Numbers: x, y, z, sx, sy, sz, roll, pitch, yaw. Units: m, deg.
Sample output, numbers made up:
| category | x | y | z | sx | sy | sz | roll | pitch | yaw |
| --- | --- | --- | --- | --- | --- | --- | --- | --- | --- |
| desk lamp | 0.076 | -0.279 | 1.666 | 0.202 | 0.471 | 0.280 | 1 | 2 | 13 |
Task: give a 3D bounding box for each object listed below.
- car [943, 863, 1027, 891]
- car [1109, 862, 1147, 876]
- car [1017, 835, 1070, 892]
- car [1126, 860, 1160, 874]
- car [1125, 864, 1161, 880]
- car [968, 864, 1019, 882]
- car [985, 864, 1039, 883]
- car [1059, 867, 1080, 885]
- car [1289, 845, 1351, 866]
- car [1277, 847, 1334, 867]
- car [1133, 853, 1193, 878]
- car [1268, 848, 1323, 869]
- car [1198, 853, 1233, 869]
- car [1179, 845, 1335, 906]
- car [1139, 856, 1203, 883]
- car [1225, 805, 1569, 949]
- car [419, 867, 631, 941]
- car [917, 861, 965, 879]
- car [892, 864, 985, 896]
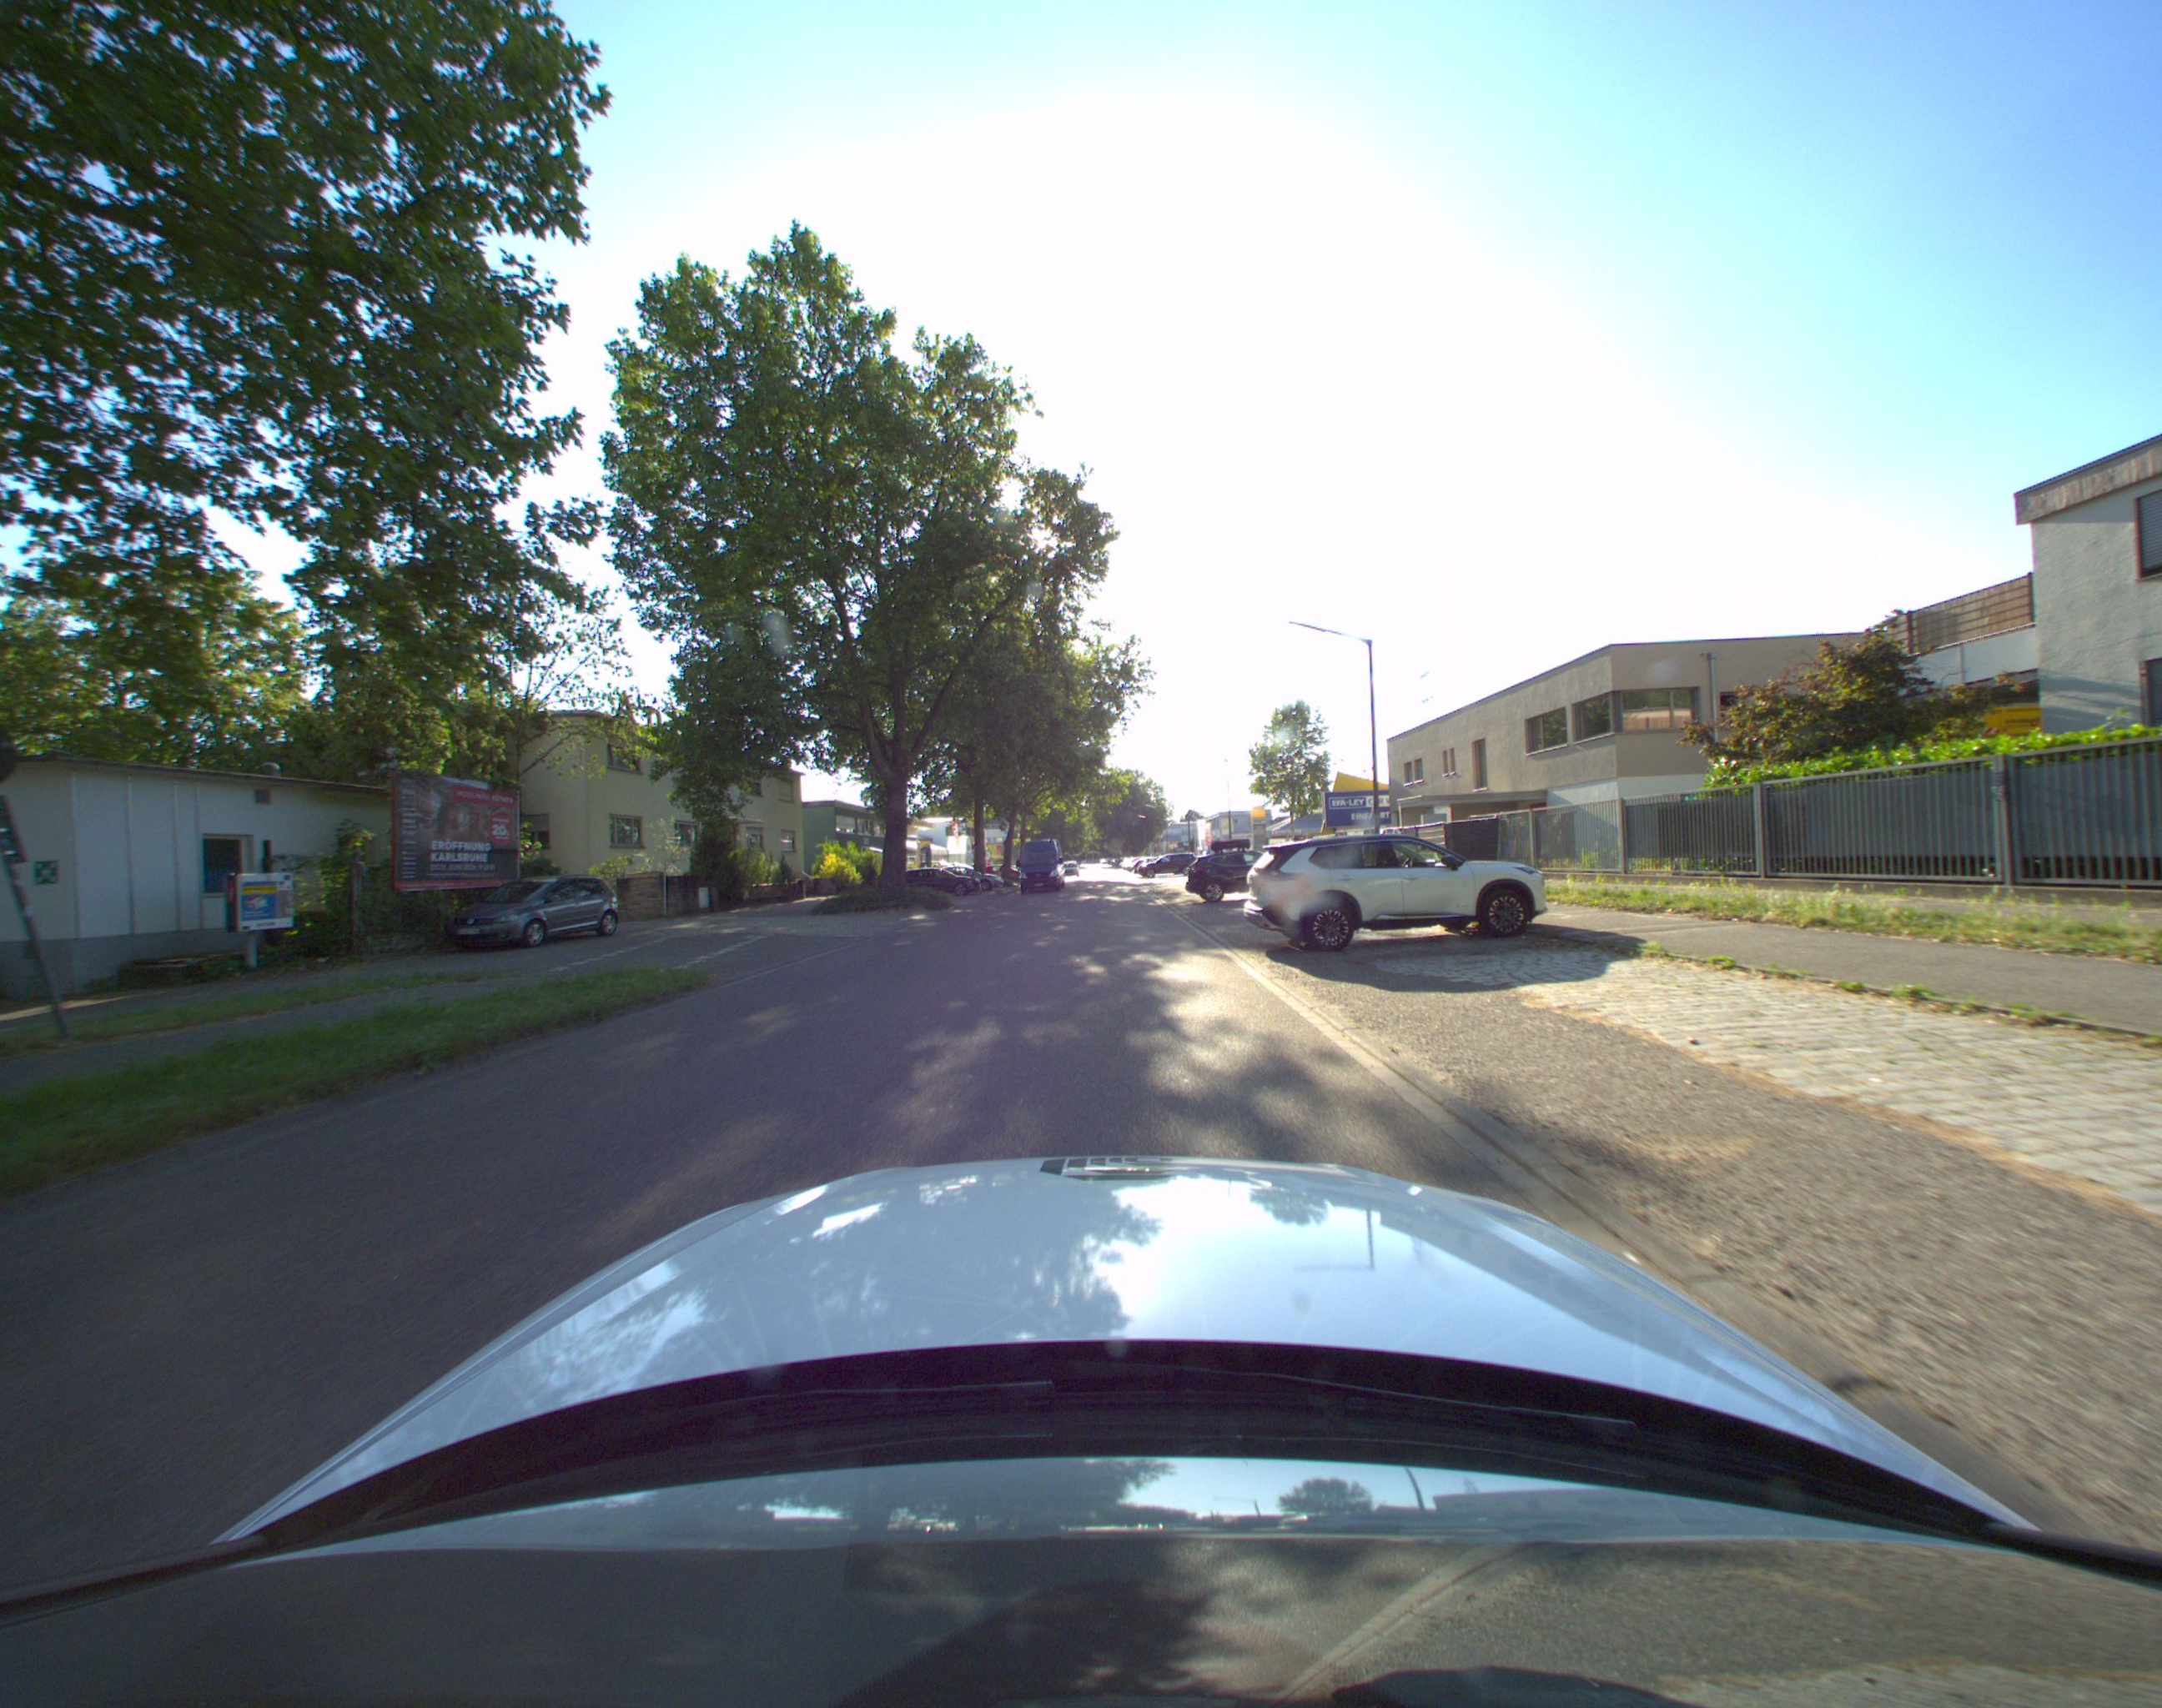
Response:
| category | x | y | z | sx | sy | sz | roll | pitch | yaw |
| --- | --- | --- | --- | --- | --- | --- | --- | --- | --- |
| car | -5.500 | 1.335 | 47.103 | 4.584 | 1.422 | 2.000 | -2 | 0 | 0 |
| car | 5.032 | 1.618 | 87.676 | 3.969 | 1.296 | 1.786 | -4 | -1 | 4 |
| car | -1.856 | 0.444 | 42.628 | 2.120 | 2.659 | 7.003 | -3 | 0 | 1 |
| car | 8.936 | 1.818 | 117.404 | 4.543 | 1.597 | 2.200 | -5 | -1 | -2 |
| car | 7.327 | 2.077 | 95.839 | 3.977 | 1.588 | 1.865 | -3 | -1 | -3 |
| car | -9.533 | 2.115 | 89.109 | 5.241 | 1.899 | 2.202 | -1 | -1 | 0 |
| car | -5.660 | 1.613 | 67.362 | 4.281 | 1.446 | 2.000 | 0 | -1 | 0 |
| car | -1.070 | 2.083 | 78.786 | 1.832 | 1.571 | 3.802 | -4 | -1 | 1 |
| car | 17.715 | 0.137 | 60.556 | 3.978 | 1.497 | 1.998 | -1 | -1 | -3 |
| car | 17.647 | 0.233 | 64.130 | 3.978 | 1.519 | 1.951 | -1 | -1 | -3 |
| car | 6.708 | 0.958 | 67.012 | 4.585 | 1.613 | 2.000 | -5 | -1 | 0 |
| car | 17.598 | 0.389 | 66.853 | 3.978 | 1.595 | 1.998 | -1 | -1 | -3 |
| car | 17.533 | 0.940 | 106.418 | 4.129 | 1.771 | 2.000 | -4 | -1 | 1 |
| car | 5.717 | 0.690 | 26.851 | 4.611 | 1.526 | 1.999 | -5 | -1 | -1 |
| car | 6.723 | 1.172 | 61.455 | 4.581 | 1.580 | 2.002 | -5 | -1 | 3 |
| car | 4.852 | 0.355 | 13.026 | 4.611 | 1.712 | 1.999 | -5 | -1 | -1 |
| car | -13.119 | 1.111 | 19.612 | 1.985 | 1.576 | 4.276 | -1 | -1 | 3 |
| car | -14.700 | 1.711 | 85.839 | 4.731 | 1.820 | 1.999 | -1 | -1 | -1 |
| car | -7.204 | 1.296 | 41.505 | 4.341 | 1.422 | 1.999 | -2 | 0 | -1 |
